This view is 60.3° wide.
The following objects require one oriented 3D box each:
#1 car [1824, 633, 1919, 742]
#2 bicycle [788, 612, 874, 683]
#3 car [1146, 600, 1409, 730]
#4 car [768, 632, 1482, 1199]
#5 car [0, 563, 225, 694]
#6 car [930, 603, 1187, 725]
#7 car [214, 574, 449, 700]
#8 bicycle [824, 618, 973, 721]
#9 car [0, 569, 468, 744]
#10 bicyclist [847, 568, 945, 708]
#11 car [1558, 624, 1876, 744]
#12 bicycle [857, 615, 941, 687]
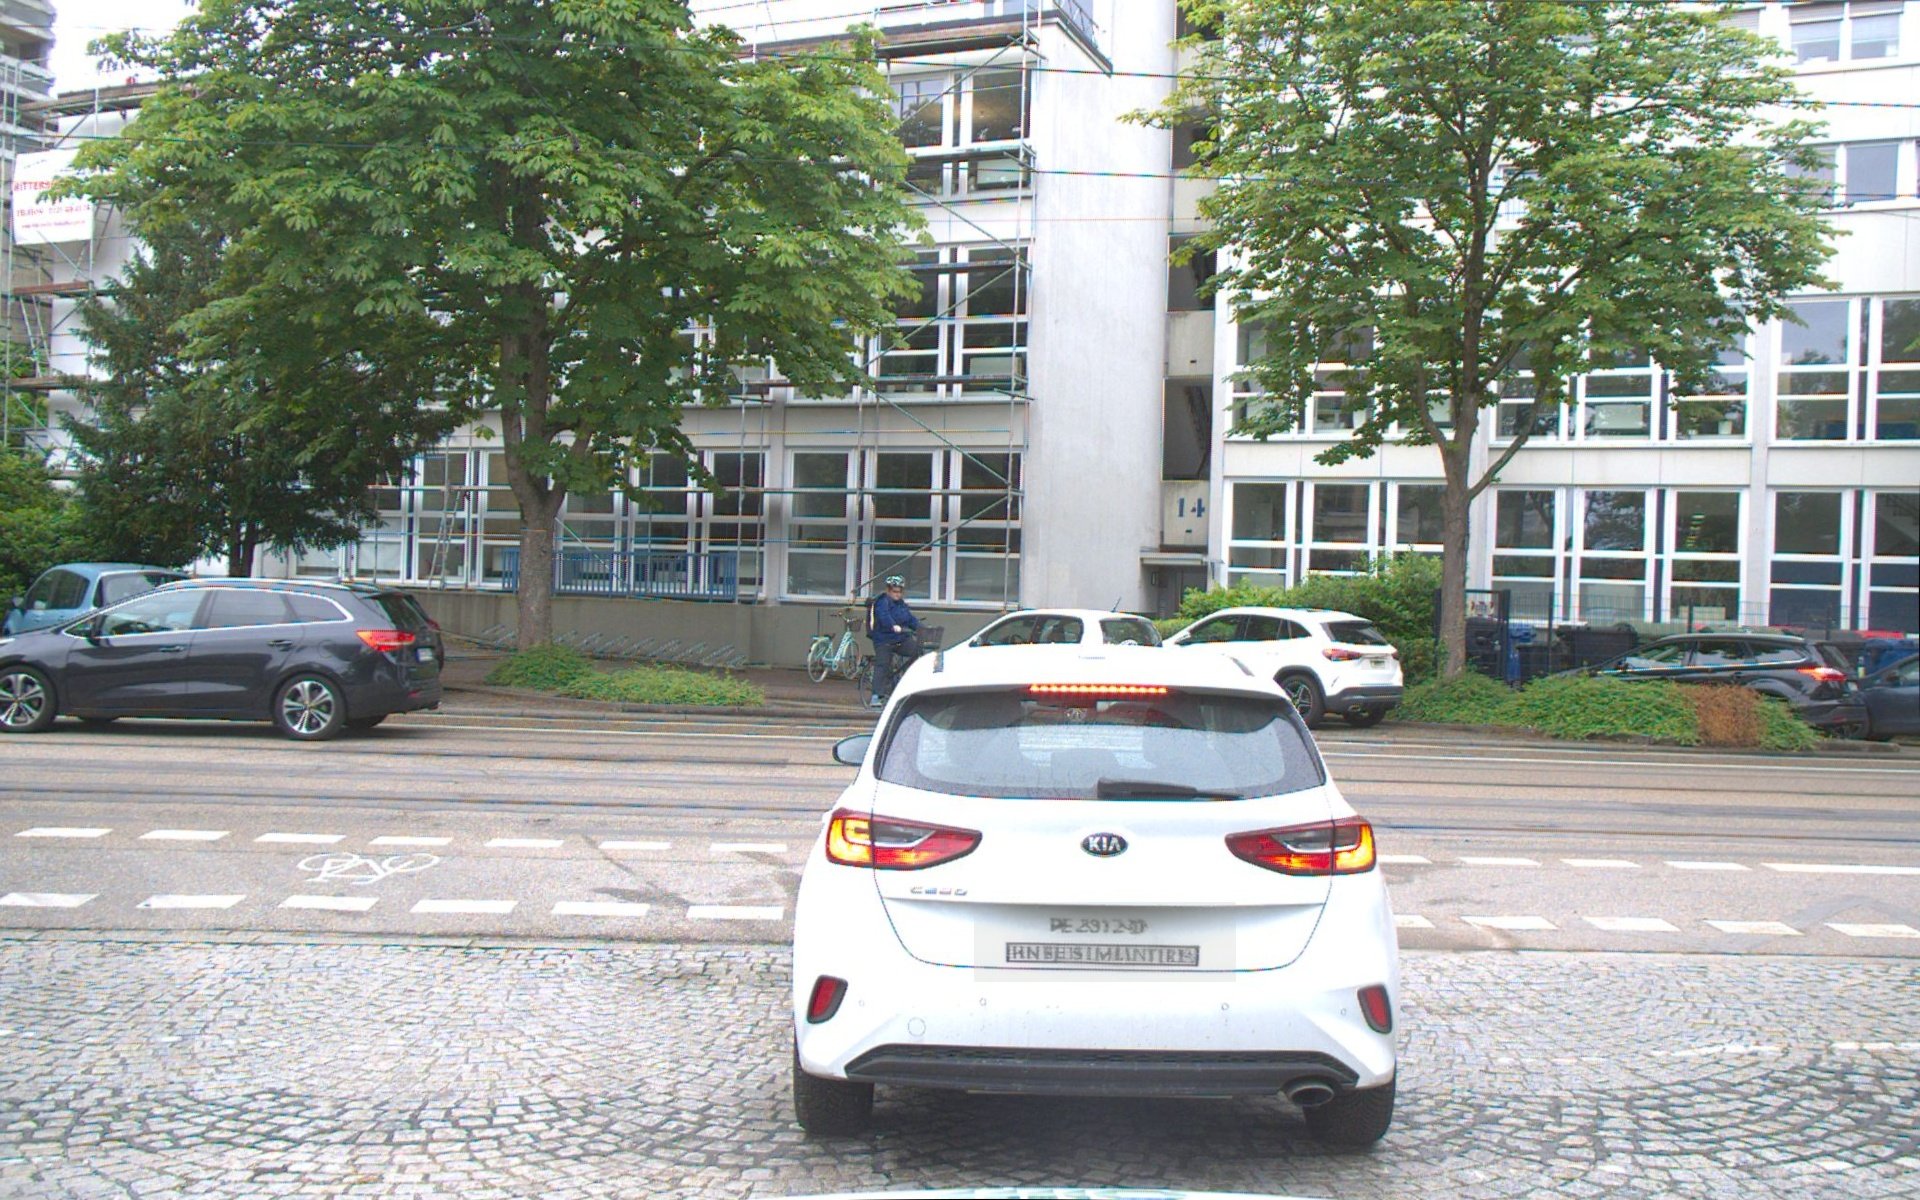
[{"bbox_3d":[14.245,1.252,23.403,3.331,1.499,1.407,1,0,43],"label":"car"},{"bbox_3d":[-2.244,0.807,29.054,0.631,1.093,2.313,2,2,19],"label":"bicycle"},{"bbox_3d":[4.396,0.851,23.202,1.545,1.646,3.352,1,0,-44],"label":"car"},{"bbox_3d":[0.486,0.866,6.062,1.738,1.458,3.979,1,-1,2],"label":"car"},{"bbox_3d":[-11.171,0.337,21.725,3.279,1.564,1.608,1,0,43],"label":"car"},{"bbox_3d":[1.300,0.822,22.667,1.545,1.499,3.352,1,0,-44],"label":"car"},{"bbox_3d":[-8.339,0.443,21.843,3.279,1.537,1.608,1,0,43],"label":"car"},{"bbox_3d":[-0.802,0.860,21.125,1.883,1.194,0.816,2,0,44],"label":"bicycle"},{"bbox_3d":[-7.134,0.521,16.090,4.159,1.516,1.821,2,0,-6],"label":"car"},{"bbox_3d":[-0.819,0.474,21.179,0.882,1.727,0.828,1,0,44],"label":"bicyclist"},{"bbox_3d":[10.830,1.143,23.786,3.881,1.499,1.665,1,0,40],"label":"car"},{"bbox_3d":[-1.031,0.852,28.591,0.631,1.093,2.313,2,2,19],"label":"bicycle"}]
